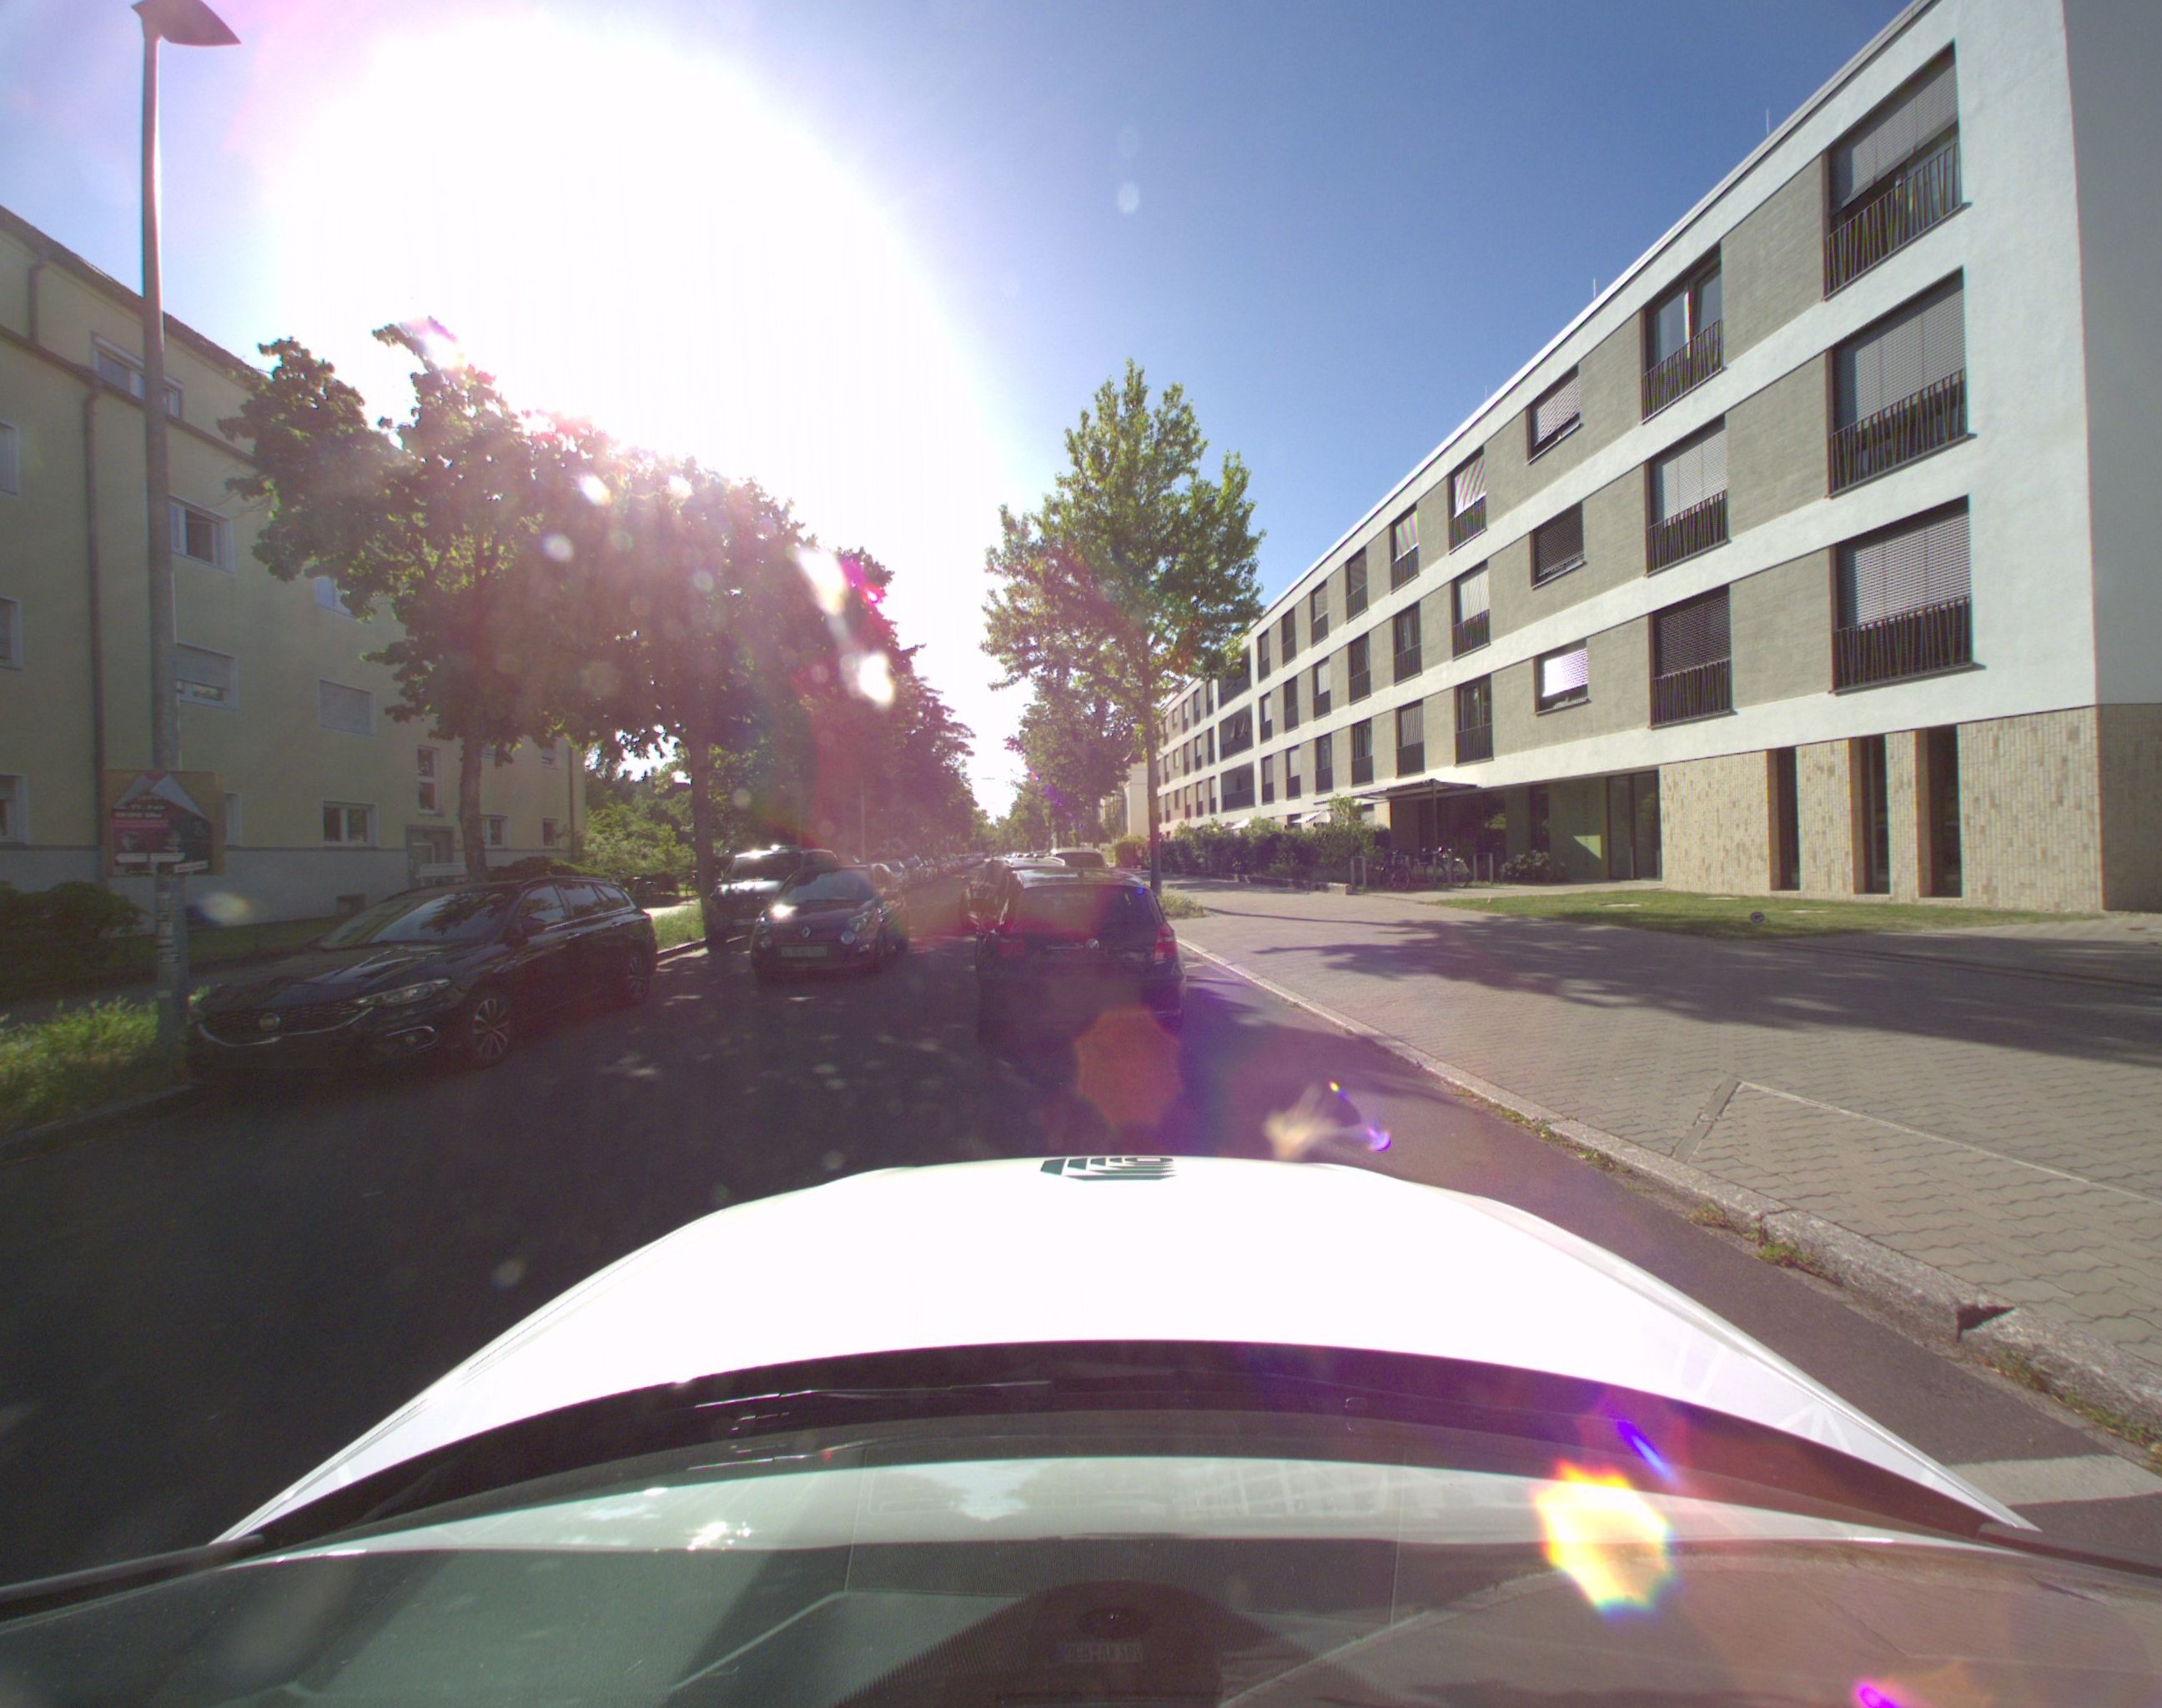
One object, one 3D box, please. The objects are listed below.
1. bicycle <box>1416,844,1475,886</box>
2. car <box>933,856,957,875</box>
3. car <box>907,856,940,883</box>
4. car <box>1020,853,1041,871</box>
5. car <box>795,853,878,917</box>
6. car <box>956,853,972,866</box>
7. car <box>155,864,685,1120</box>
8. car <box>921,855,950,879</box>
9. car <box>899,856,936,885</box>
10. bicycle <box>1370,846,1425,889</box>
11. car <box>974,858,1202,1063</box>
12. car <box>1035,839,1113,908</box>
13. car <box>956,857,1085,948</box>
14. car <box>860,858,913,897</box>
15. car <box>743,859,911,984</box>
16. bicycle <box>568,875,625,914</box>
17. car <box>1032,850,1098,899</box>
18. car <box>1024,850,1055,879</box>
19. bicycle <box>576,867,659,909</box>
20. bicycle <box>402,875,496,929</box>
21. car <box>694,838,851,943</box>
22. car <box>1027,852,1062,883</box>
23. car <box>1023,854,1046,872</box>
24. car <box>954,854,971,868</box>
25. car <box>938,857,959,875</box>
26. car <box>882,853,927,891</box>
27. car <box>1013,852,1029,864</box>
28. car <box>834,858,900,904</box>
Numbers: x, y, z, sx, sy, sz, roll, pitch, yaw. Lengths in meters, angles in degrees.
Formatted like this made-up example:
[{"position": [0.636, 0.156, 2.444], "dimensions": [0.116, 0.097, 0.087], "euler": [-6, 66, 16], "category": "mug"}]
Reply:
[{"position": [9.718, 0.295, 21.786], "dimensions": [0.545, 1.055, 1.775], "euler": [-3, 0, -8], "category": "bicycle"}, {"position": [-11.015, 0.934, 66.181], "dimensions": [1.610, 1.392, 3.857], "euler": [-3, 0, -6], "category": "car"}, {"position": [-9.611, 0.910, 49.902], "dimensions": [1.610, 1.452, 3.857], "euler": [-3, 0, -6], "category": "car"}, {"position": [-4.219, 0.640, 67.886], "dimensions": [1.718, 1.480, 3.845], "euler": [0, 0, -4], "category": "car"}, {"position": [-7.076, 0.824, 23.918], "dimensions": [1.611, 1.611, 4.218], "euler": [-3, 0, -8], "category": "car"}, {"position": [-13.703, 0.585, 95.639], "dimensions": [1.610, 1.392, 3.857], "euler": [-3, 0, -6], "category": "car"}, {"position": [-5.596, 0.946, 7.878], "dimensions": [1.505, 1.548, 4.768], "euler": [-4, 0, -6], "category": "car"}, {"position": [-10.101, 0.878, 56.787], "dimensions": [1.610, 1.543, 3.857], "euler": [-3, 0, -6], "category": "car"}, {"position": [-9.066, 0.893, 45.332], "dimensions": [1.610, 1.452, 3.857], "euler": [-3, 0, -6], "category": "car"}, {"position": [8.369, 0.346, 21.601], "dimensions": [0.545, 1.055, 1.687], "euler": [-3, 0, -8], "category": "bicycle"}, {"position": [-0.152, 0.787, 7.742], "dimensions": [1.648, 1.396, 3.402], "euler": [-2, 0, -8], "category": "car"}, {"position": [-0.293, 0.488, 22.093], "dimensions": [1.844, 1.631, 4.404], "euler": [-1, 0, -4], "category": "car"}, {"position": [-1.297, 0.811, 15.553], "dimensions": [1.653, 1.425, 3.979], "euler": [-2, 0, -16], "category": "car"}, {"position": [-8.123, 0.933, 34.247], "dimensions": [1.610, 1.427, 3.717], "euler": [-3, 0, -6], "category": "car"}, {"position": [-3.445, 0.837, 11.594], "dimensions": [1.502, 1.426, 3.173], "euler": [-2, 0, -4], "category": "car"}, {"position": [-13.803, 1.142, 23.271], "dimensions": [0.594, 0.991, 1.924], "euler": [-2, 0, -5], "category": "bicycle"}, {"position": [-0.630, 0.648, 27.770], "dimensions": [1.693, 1.524, 3.987], "euler": [-1, 0, -9], "category": "car"}, {"position": [-2.506, 0.611, 48.090], "dimensions": [1.718, 1.641, 3.845], "euler": [0, 0, -4], "category": "car"}, {"position": [-14.796, 1.084, 26.047], "dimensions": [2.150, 1.208, 0.686], "euler": [-2, 0, -17], "category": "bicycle"}, {"position": [-13.391, 0.994, 17.333], "dimensions": [0.594, 0.991, 1.924], "euler": [-2, 0, -5], "category": "bicycle"}, {"position": [-6.630, 0.684, 18.190], "dimensions": [1.823, 1.904, 5.133], "euler": [-3, 0, -5], "category": "car"}, {"position": [-1.922, 0.673, 42.122], "dimensions": [1.718, 1.528, 3.994], "euler": [0, 0, -4], "category": "car"}, {"position": [-3.599, 0.688, 63.147], "dimensions": [1.718, 1.379, 3.845], "euler": [0, 0, -4], "category": "car"}, {"position": [-13.129, 0.777, 90.255], "dimensions": [1.610, 1.392, 3.857], "euler": [-3, 0, -6], "category": "car"}, {"position": [-11.592, 1.013, 71.410], "dimensions": [1.610, 1.392, 3.857], "euler": [-3, 0, -6], "category": "car"}, {"position": [-8.548, 0.830, 39.663], "dimensions": [1.610, 1.678, 4.225], "euler": [-3, 0, -6], "category": "car"}, {"position": [-7.566, 0.471, 102.955], "dimensions": [1.717, 1.480, 3.847], "euler": [-3, 0, -2], "category": "car"}, {"position": [-7.593, 0.916, 29.191], "dimensions": [1.610, 1.427, 4.049], "euler": [-3, 0, -6], "category": "car"}]
